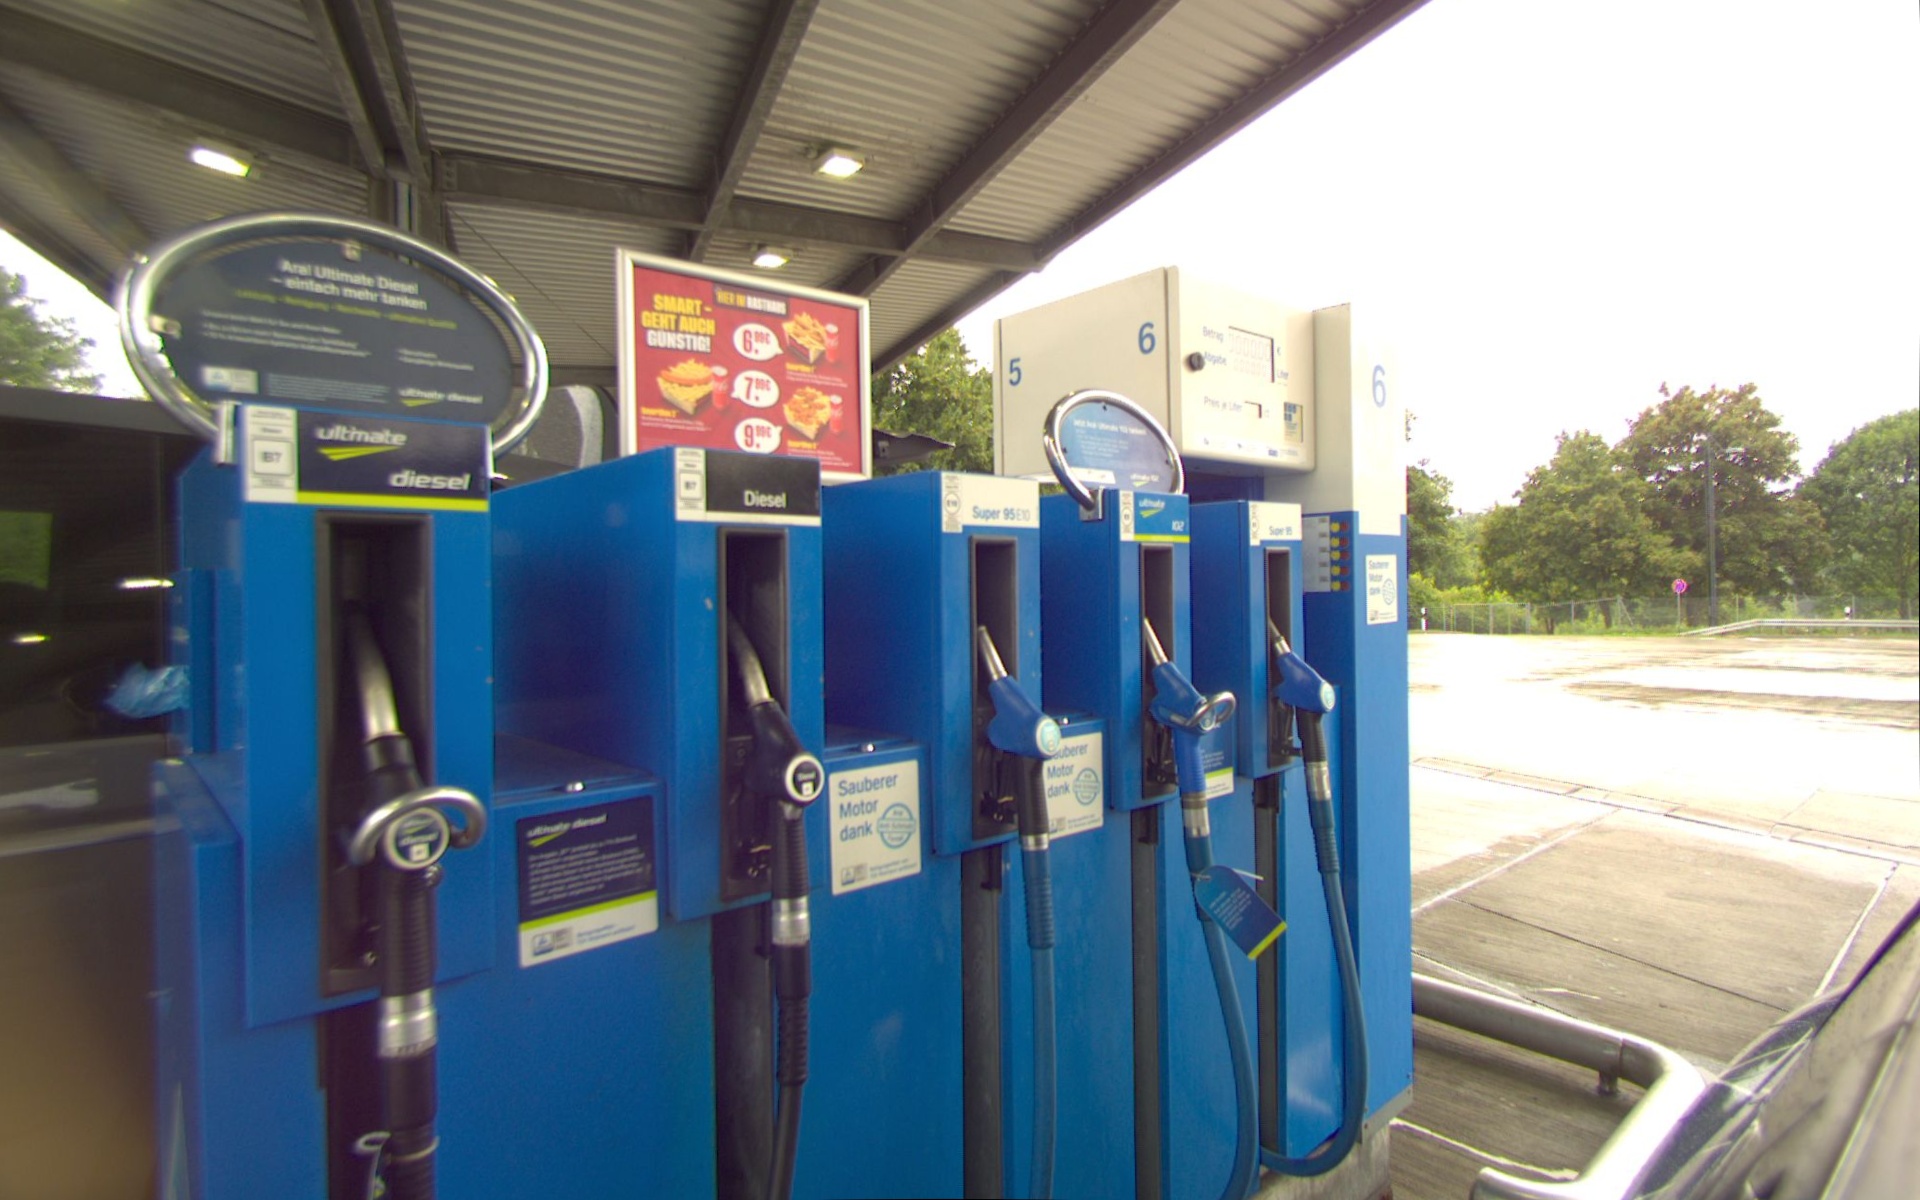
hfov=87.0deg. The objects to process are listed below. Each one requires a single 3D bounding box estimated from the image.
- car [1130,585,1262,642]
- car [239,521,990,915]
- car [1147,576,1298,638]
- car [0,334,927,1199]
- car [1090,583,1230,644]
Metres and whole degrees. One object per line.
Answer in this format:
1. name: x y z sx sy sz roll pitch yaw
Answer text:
1. car: 7.424 0.384 31.928 3.941 1.680 1.593 1 0 14
2. car: -2.061 0.517 6.844 4.460 1.821 1.865 -1 0 -41
3. car: 8.886 0.205 34.511 4.817 1.974 2.306 1 1 14
4. car: -2.600 0.503 1.824 5.050 1.821 1.864 -1 0 -41
5. car: 5.870 0.372 29.738 3.941 1.680 1.593 1 0 14
